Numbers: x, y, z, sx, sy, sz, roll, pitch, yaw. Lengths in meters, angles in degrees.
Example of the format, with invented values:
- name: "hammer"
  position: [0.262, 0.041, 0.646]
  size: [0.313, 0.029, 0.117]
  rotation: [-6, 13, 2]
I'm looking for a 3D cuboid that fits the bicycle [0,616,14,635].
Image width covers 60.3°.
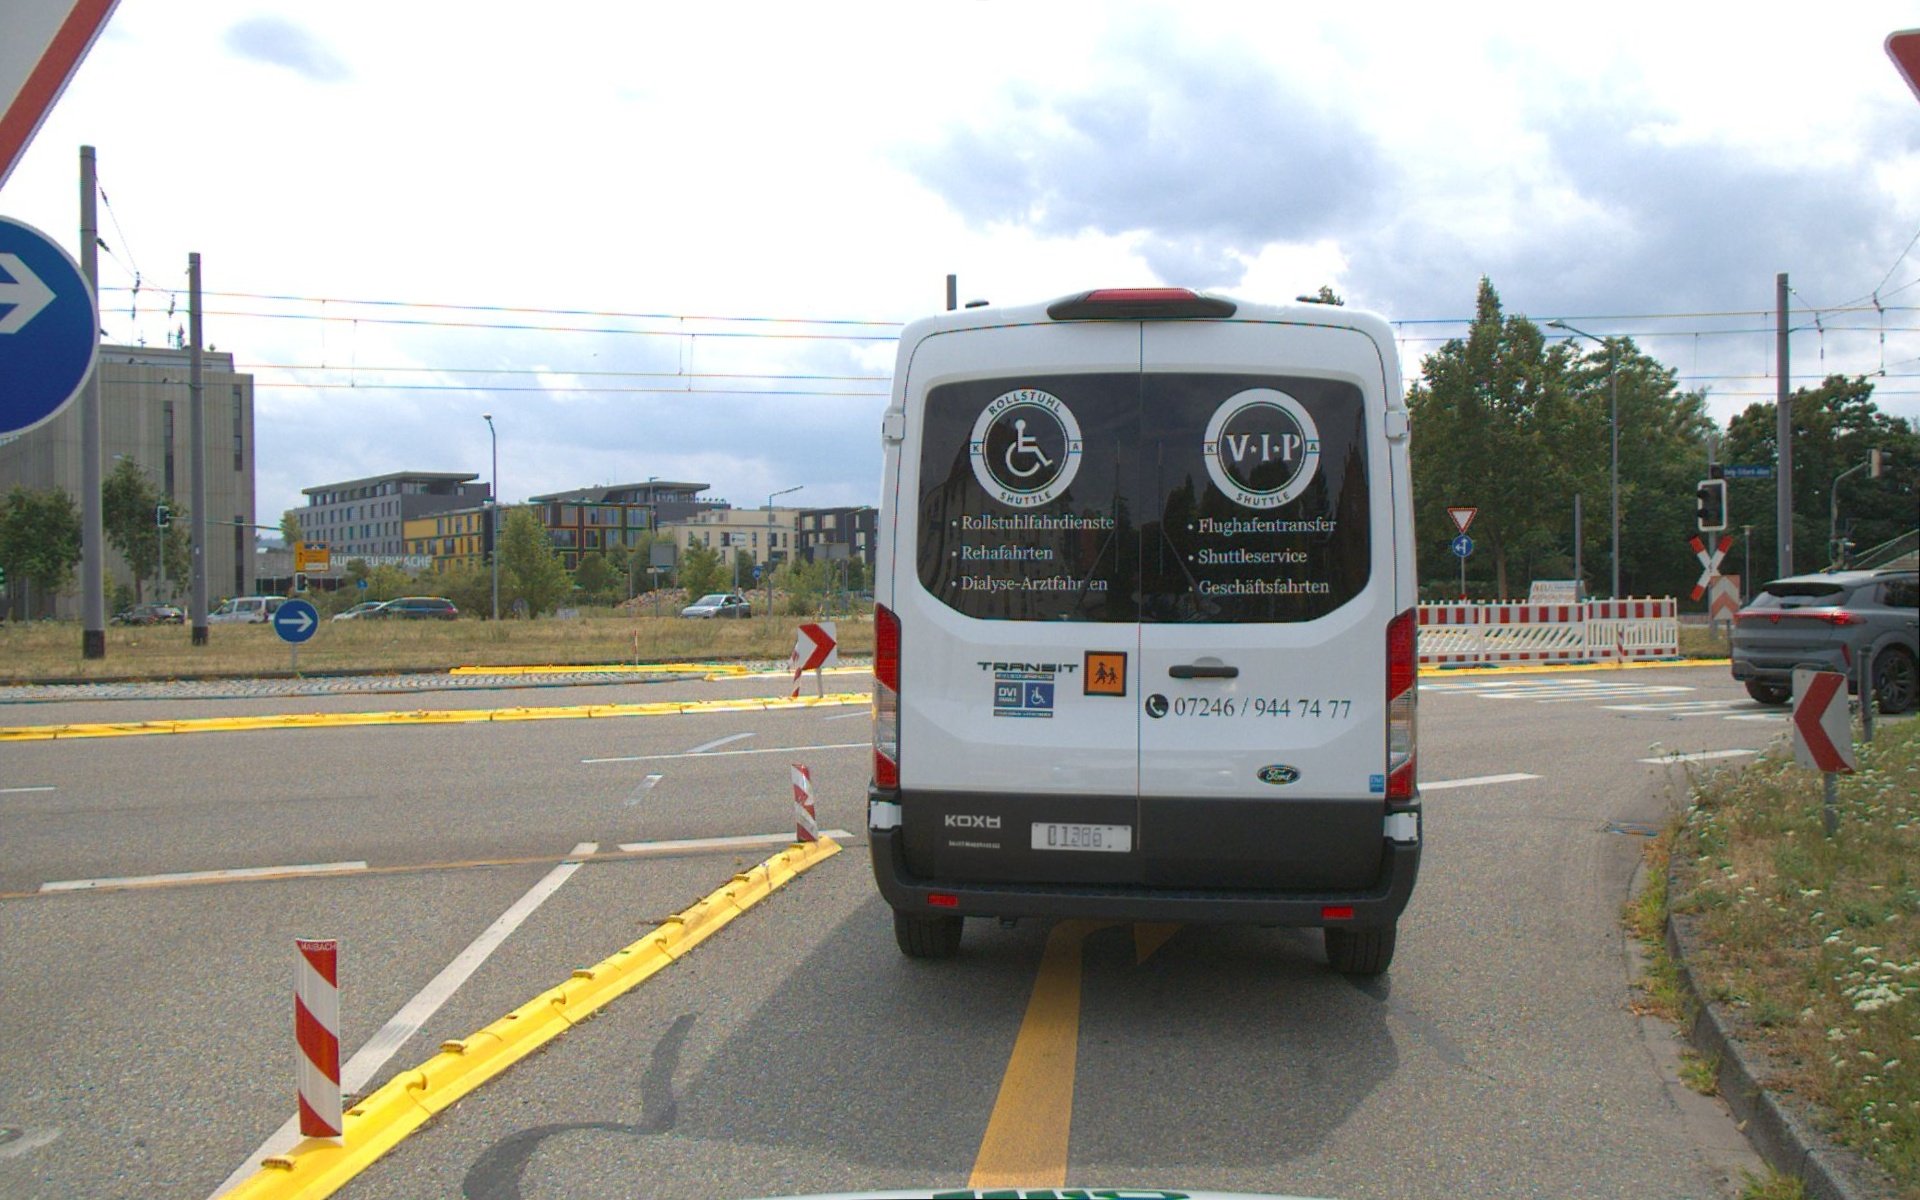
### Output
- name: "bicycle"
  position: [-46.098, 1.243, 78.698]
  size: [1.803, 0.892, 0.527]
  rotation: [-1, 0, -23]

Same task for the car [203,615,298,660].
- name: "car"
  position: [-32.773, 1.729, 76.400]
  size: [4.270, 2.049, 1.994]
  rotation: [-1, -1, 33]

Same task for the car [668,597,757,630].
- name: "car"
  position: [-11.747, 0.631, 78.579]
  size: [1.800, 1.489, 3.977]
  rotation: [-1, -1, 41]

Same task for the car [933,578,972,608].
- name: "car"
  position: [-0.476, -0.417, 108.862]
  size: [1.951, 1.881, 4.003]
  rotation: [0, -1, 10]

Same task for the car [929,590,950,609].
- name: "car"
  position: [-2.126, -0.072, 171.128]
  size: [1.952, 1.881, 4.001]
  rotation: [0, -1, 3]

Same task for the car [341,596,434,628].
- name: "car"
  position: [-27.240, 0.569, 78.722]
  size: [3.904, 1.489, 1.833]
  rotation: [0, -1, 20]

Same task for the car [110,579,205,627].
- name: "car"
  position: [-35.271, 0.164, 72.670]
  size: [3.916, 2.049, 1.994]
  rotation: [-1, -1, 33]

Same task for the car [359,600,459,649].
- name: "car"
  position: [-23.335, 1.047, 70.160]
  size: [3.922, 2.049, 1.991]
  rotation: [0, -1, -16]

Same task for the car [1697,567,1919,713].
- name: "car"
  position: [11.292, 0.405, 19.839]
  size: [4.399, 1.578, 2.050]
  rotation: [-1, 0, -23]

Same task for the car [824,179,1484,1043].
- name: "car"
  position: [0.837, 0.042, 8.139]
  size: [2.081, 2.745, 5.635]
  rotation: [-1, 0, 5]

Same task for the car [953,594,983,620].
- name: "car"
  position: [0.613, 0.563, 124.151]
  size: [1.951, 1.881, 4.002]
  rotation: [0, -1, 4]
